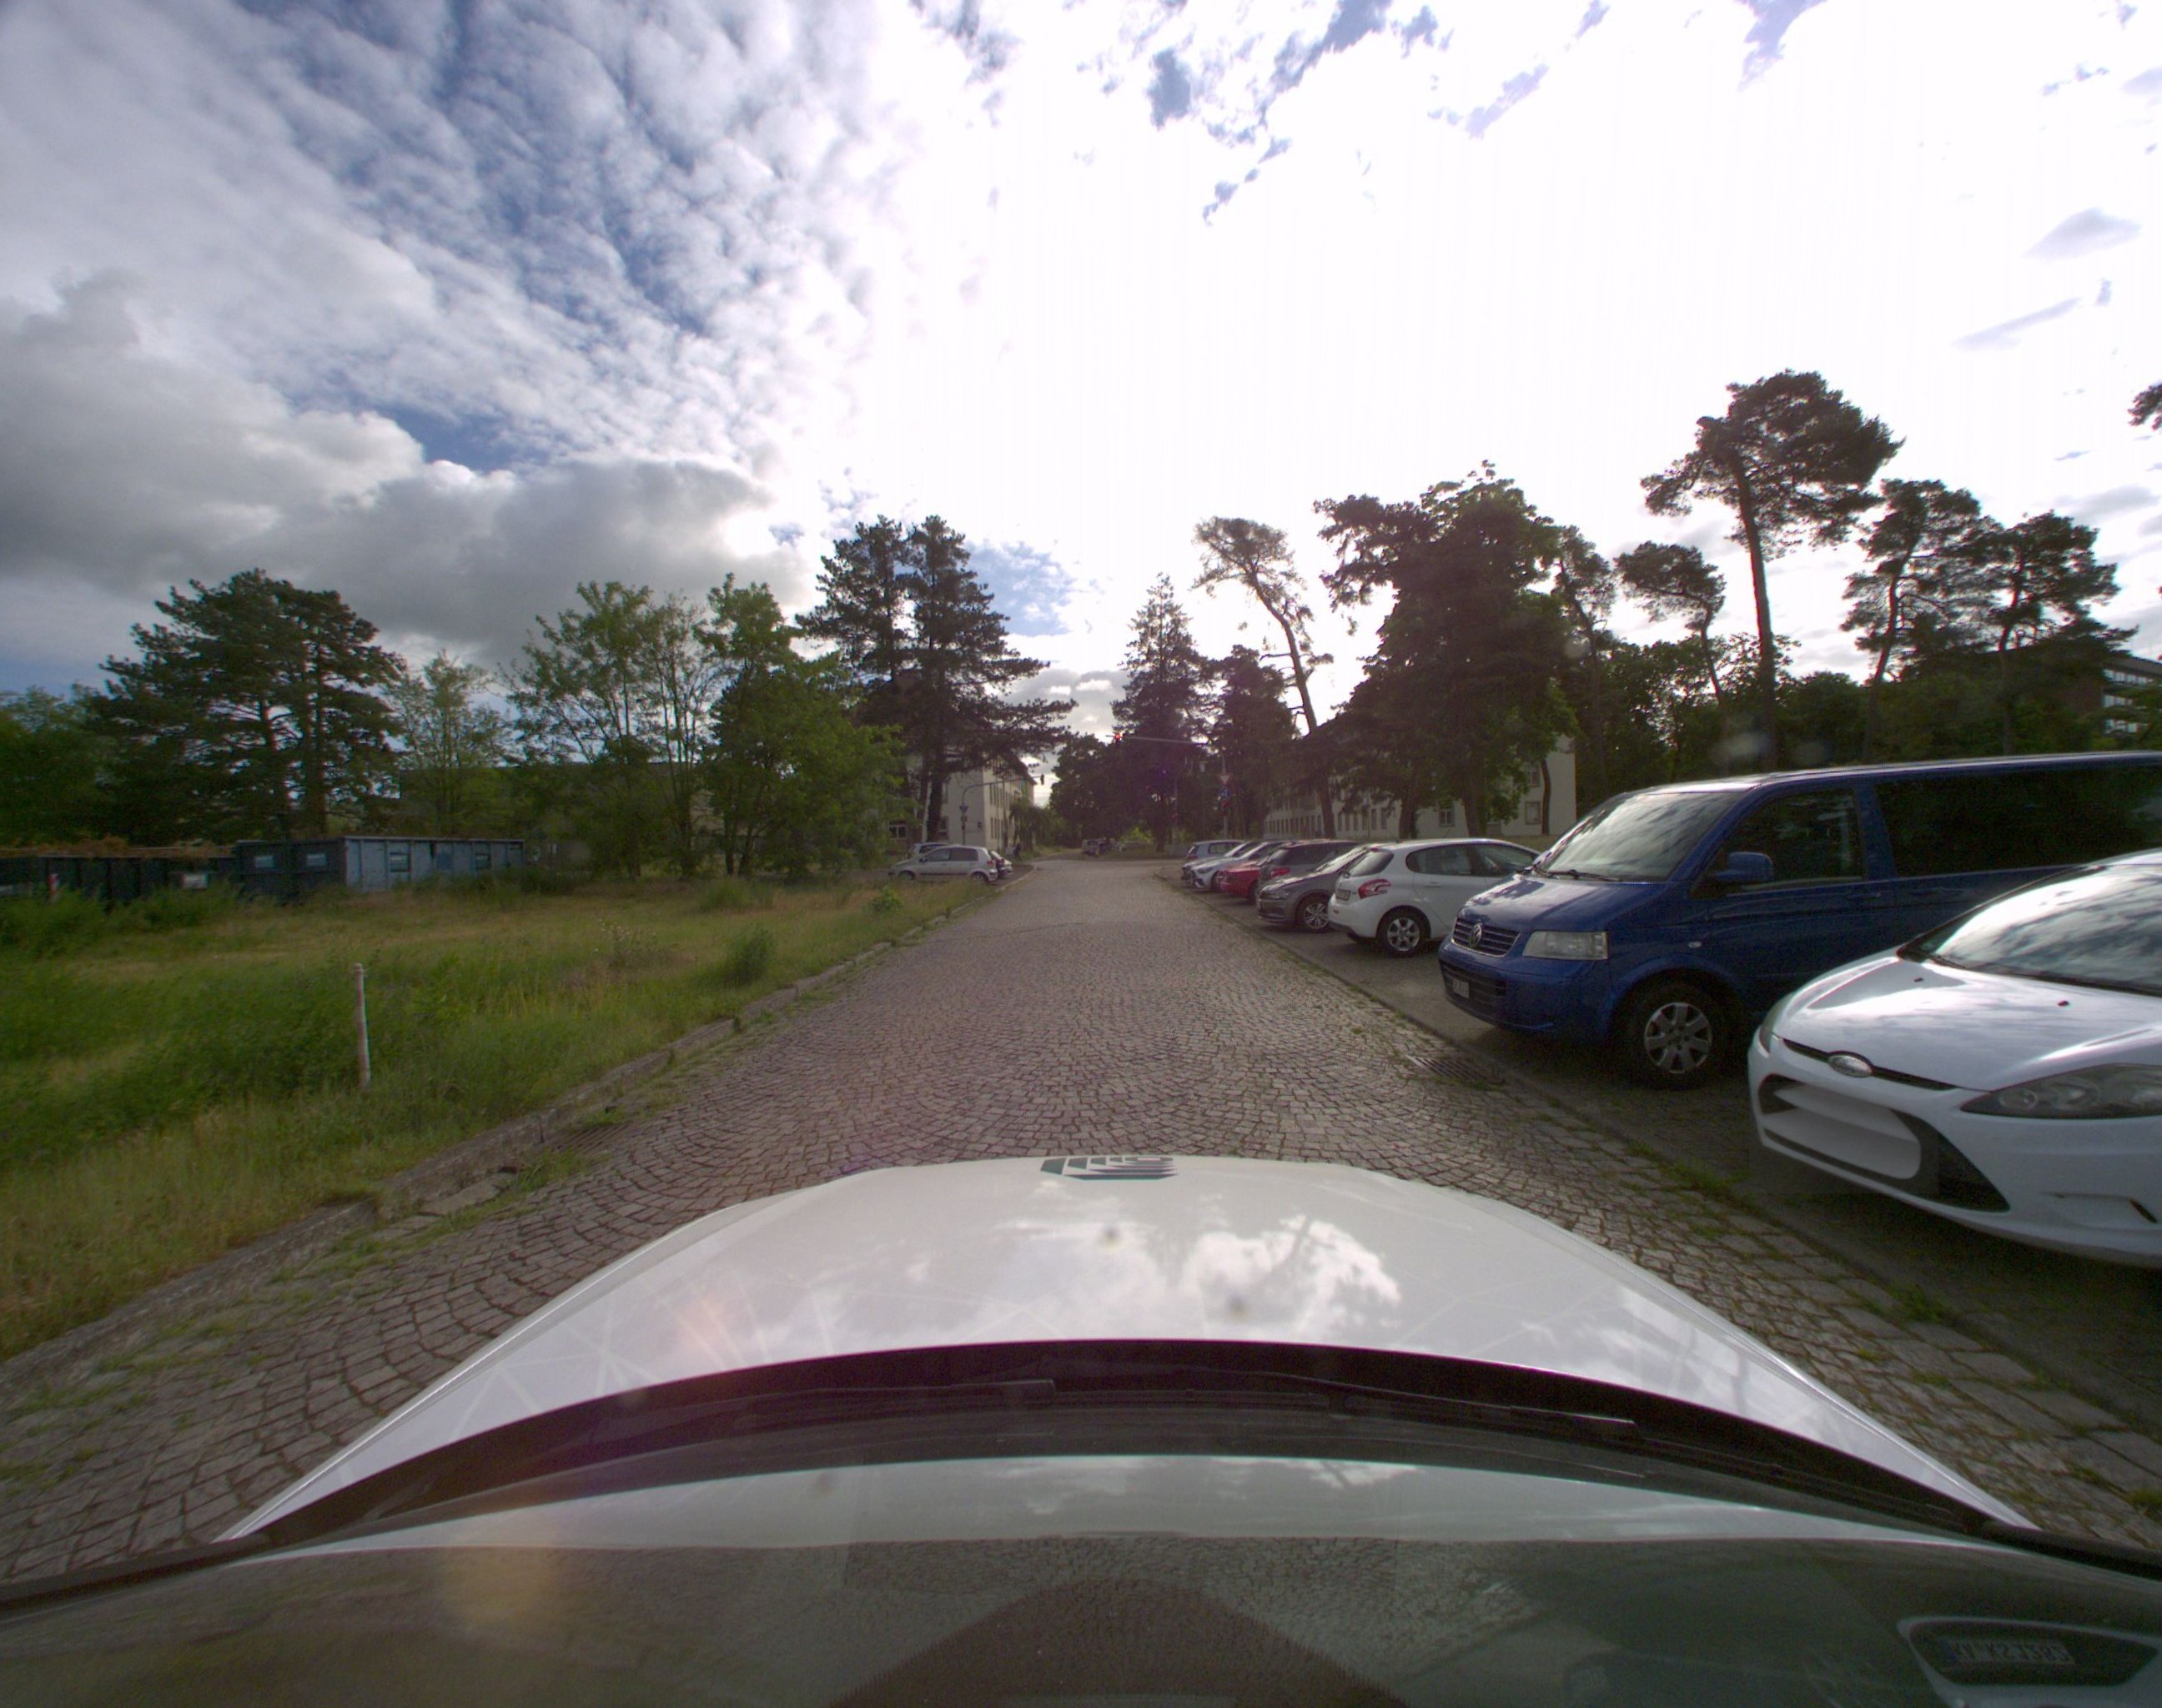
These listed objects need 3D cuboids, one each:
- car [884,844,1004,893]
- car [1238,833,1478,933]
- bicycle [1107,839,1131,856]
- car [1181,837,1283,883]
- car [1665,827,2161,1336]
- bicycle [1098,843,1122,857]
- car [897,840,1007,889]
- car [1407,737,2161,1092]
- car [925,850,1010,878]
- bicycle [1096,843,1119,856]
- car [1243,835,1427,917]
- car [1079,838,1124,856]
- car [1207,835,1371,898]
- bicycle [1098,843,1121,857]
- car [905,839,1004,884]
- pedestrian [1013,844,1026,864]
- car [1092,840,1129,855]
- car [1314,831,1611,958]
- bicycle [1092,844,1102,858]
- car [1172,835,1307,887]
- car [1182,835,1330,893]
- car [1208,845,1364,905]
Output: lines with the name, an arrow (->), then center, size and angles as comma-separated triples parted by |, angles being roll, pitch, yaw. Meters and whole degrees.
car -> -4.766, 0.479, 28.832 | 3.981, 1.552, 1.996 | -2, 1, -6
car -> 4.752, 0.448, 14.182 | 3.598, 1.506, 1.658 | -2, 1, -10
bicycle -> 3.727, -0.604, 79.915 | 2.158, 1.615, 0.811 | -1, 1, -6
car -> 5.479, 0.191, 29.640 | 3.384, 1.543, 1.388 | -2, 1, -6
car -> 4.836, 0.624, 3.344 | 3.713, 1.424, 1.653 | -3, 1, -2
bicycle -> 2.789, -0.419, 78.619 | 2.158, 1.268, 0.811 | -1, 1, -6
car -> -4.883, 0.381, 31.321 | 3.981, 1.705, 1.996 | -2, 1, -6
car -> 5.061, 0.334, 5.810 | 4.768, 2.039, 1.738 | -2, 1, -1
car -> -5.038, 0.451, 36.529 | 3.666, 1.093, 1.643 | -2, 1, -6
bicycle -> 2.572, -0.422, 80.420 | 2.158, 1.268, 0.811 | -1, 1, -6
car -> 5.260, 0.408, 17.060 | 3.293, 1.504, 1.658 | -2, 1, -10
car -> 2.446, -0.867, 96.441 | 5.051, 2.013, 1.993 | -1, 1, -10
car -> 5.565, 0.305, 22.022 | 3.981, 1.543, 1.661 | -1, 1, -6
bicycle -> 2.793, -0.420, 79.206 | 2.158, 1.268, 0.811 | -1, 1, -6
car -> -5.280, 0.285, 34.403 | 3.983, 1.749, 1.923 | -1, 1, -7
pedestrian -> -4.793, -0.024, 63.180 | 0.895, 1.498, 0.904 | -1, 1, 1
car -> 3.369, -0.731, 93.164 | 3.981, 1.644, 1.996 | -1, 1, -6
car -> 5.091, 0.493, 11.163 | 3.283, 1.504, 1.663 | -2, 1, -2
bicycle -> 1.491, -0.299, 74.860 | 0.807, 1.268, 1.974 | -1, 1, 2
car -> 5.218, 0.217, 27.070 | 4.116, 1.543, 1.661 | -2, 1, -6
car -> 5.166, 0.271, 24.254 | 3.981, 1.543, 1.661 | -2, 1, -6
car -> 4.918, 0.472, 19.776 | 3.287, 1.267, 1.661 | -2, 1, -6
